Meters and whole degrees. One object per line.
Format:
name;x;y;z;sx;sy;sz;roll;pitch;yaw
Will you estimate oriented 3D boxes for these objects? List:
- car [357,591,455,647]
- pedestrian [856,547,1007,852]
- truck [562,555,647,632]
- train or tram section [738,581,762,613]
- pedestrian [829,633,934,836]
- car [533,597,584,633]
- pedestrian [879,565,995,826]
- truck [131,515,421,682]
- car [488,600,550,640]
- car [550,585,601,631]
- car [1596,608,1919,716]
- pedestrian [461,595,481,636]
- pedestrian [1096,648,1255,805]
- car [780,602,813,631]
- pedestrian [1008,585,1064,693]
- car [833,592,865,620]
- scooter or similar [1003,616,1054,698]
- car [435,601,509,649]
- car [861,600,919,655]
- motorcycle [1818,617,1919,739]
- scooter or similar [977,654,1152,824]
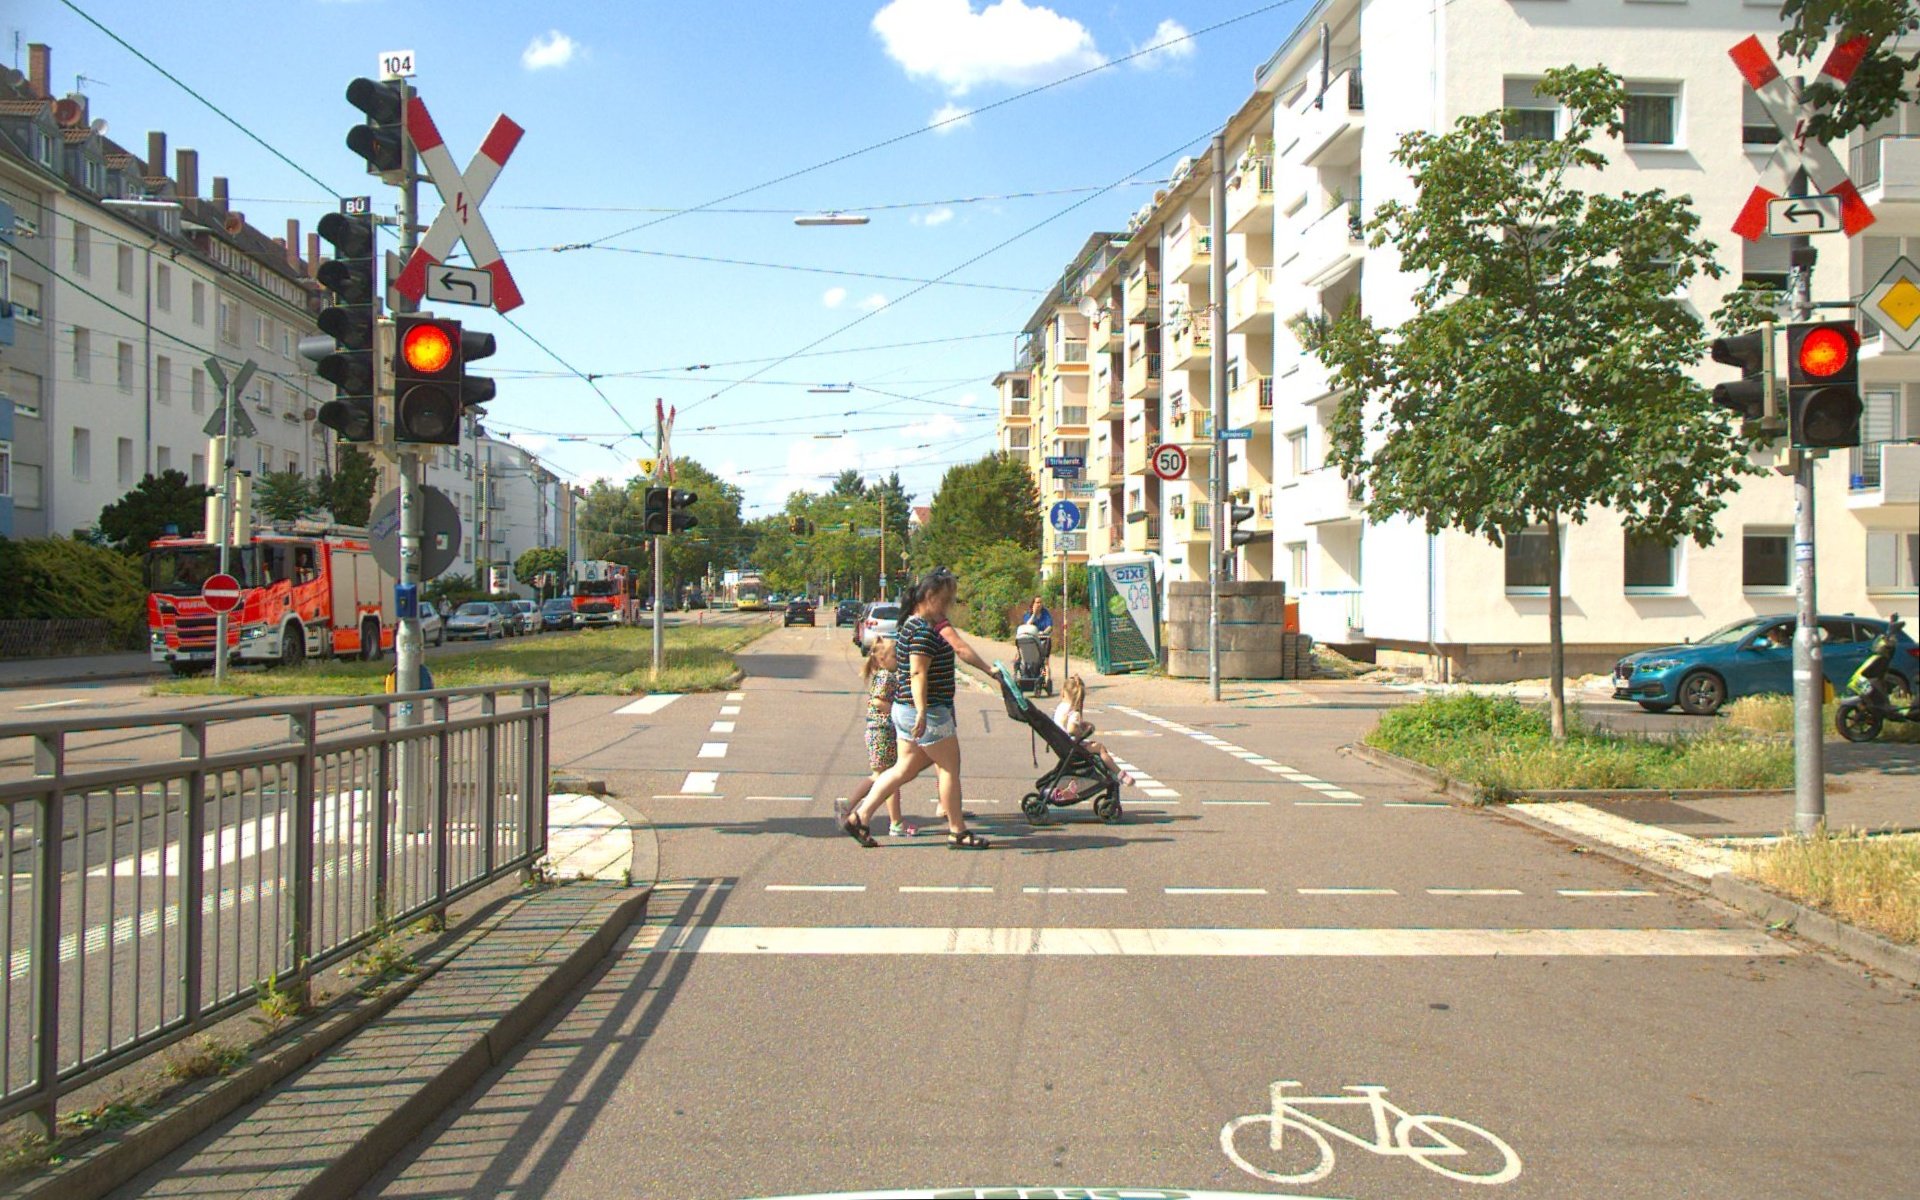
car;-18.112;0.617;54.265;1.954;1.741;3.998;2;0;-3
pedestrian;-0.169;0.558;9.649;0.828;1.697;0.798;0;-1;-2
truck;-17.574;-0.280;82.383;2.614;3.531;10.159;1;0;-4
train or tram section;-21.340;-0.312;168.057;2.215;3.122;8.122;0;0;-6
pedestrian;-0.481;0.816;10.334;0.624;1.201;0.798;0;-1;-2
car;-20.571;0.750;84.882;1.873;1.741;3.996;2;0;-5
pedestrian;-0.165;0.627;11.086;0.691;1.677;0.636;2;-1;-4
truck;-14.894;0.006;36.916;2.542;3.241;8.385;1;0;3
car;-19.954;0.887;75.011;1.954;1.741;3.996;2;0;-5
car;-21.072;0.462;90.865;1.929;2.412;5.197;2;0;-4
car;11.739;0.886;24.319;4.081;1.438;1.780;2;-1;-1
pedestrian;-21.949;0.680;74.235;0.691;1.825;0.864;0;0;-5
pedestrian;3.165;1.813;25.023;1.952;2.049;4.001;1;-1;1
car;-9.165;0.902;92.800;1.709;1.533;3.997;2;0;-4
pedestrian;1.338;0.664;28.916;0.686;1.820;1.031;-3;0;15
car;-6.374;0.356;95.229;1.709;1.533;3.997;2;0;-3
scooter or similar;1.177;0.959;28.111;0.648;1.326;0.869;-2;0;15
car;-18.901;0.959;64.164;1.955;1.741;3.995;2;0;-5
car;-2.060;0.790;48.223;1.590;1.490;3.508;2;0;-3
motorcycle;10.216;0.821;17.613;0.565;1.236;1.826;-5;1;-32
scooter or similar;0.688;0.921;11.134;1.078;1.074;0.650;1;-1;-4
